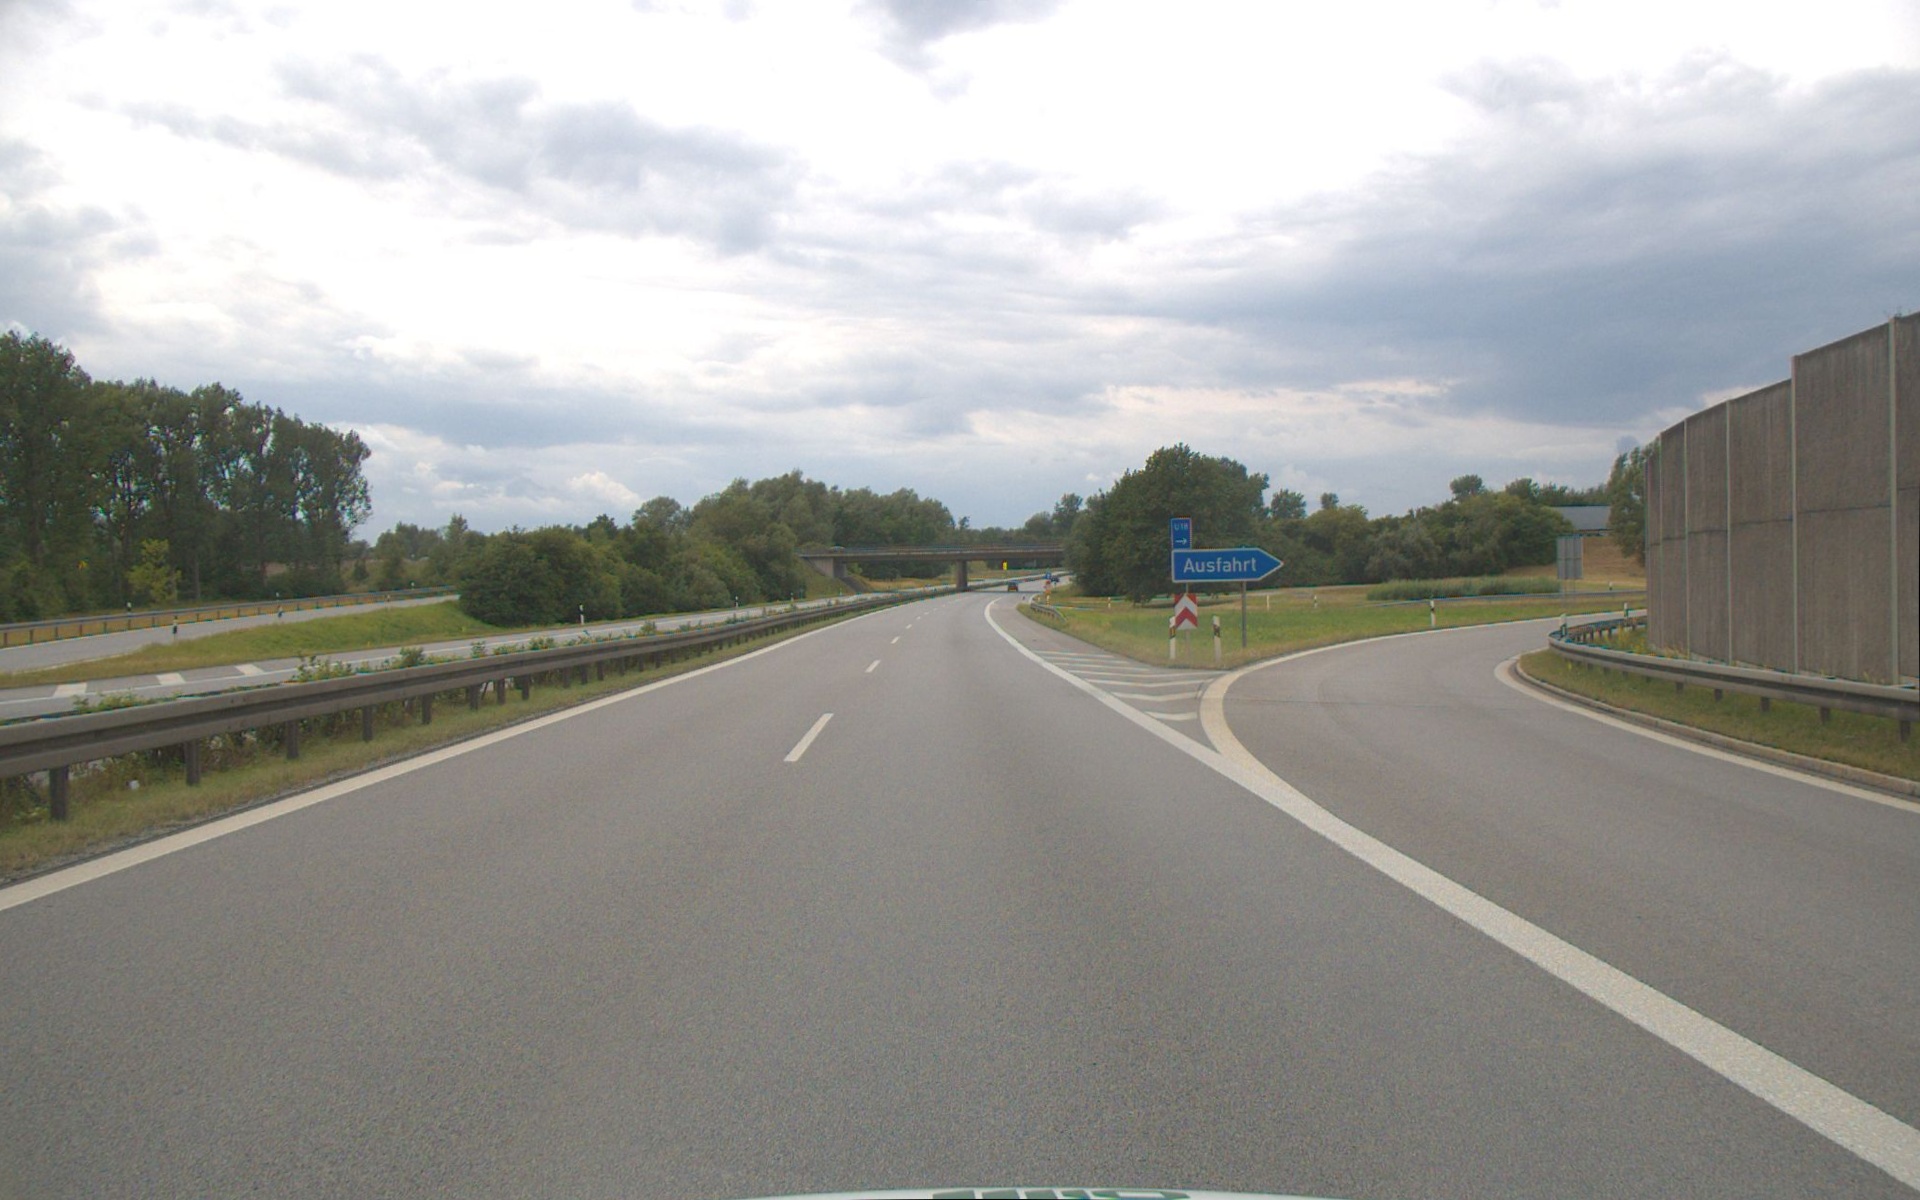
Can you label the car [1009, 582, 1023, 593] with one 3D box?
[{"bbox_3d":[8.737,-1.970,258.133,1.806,1.747,4.003,-1,0,8],"label":"car"}]
